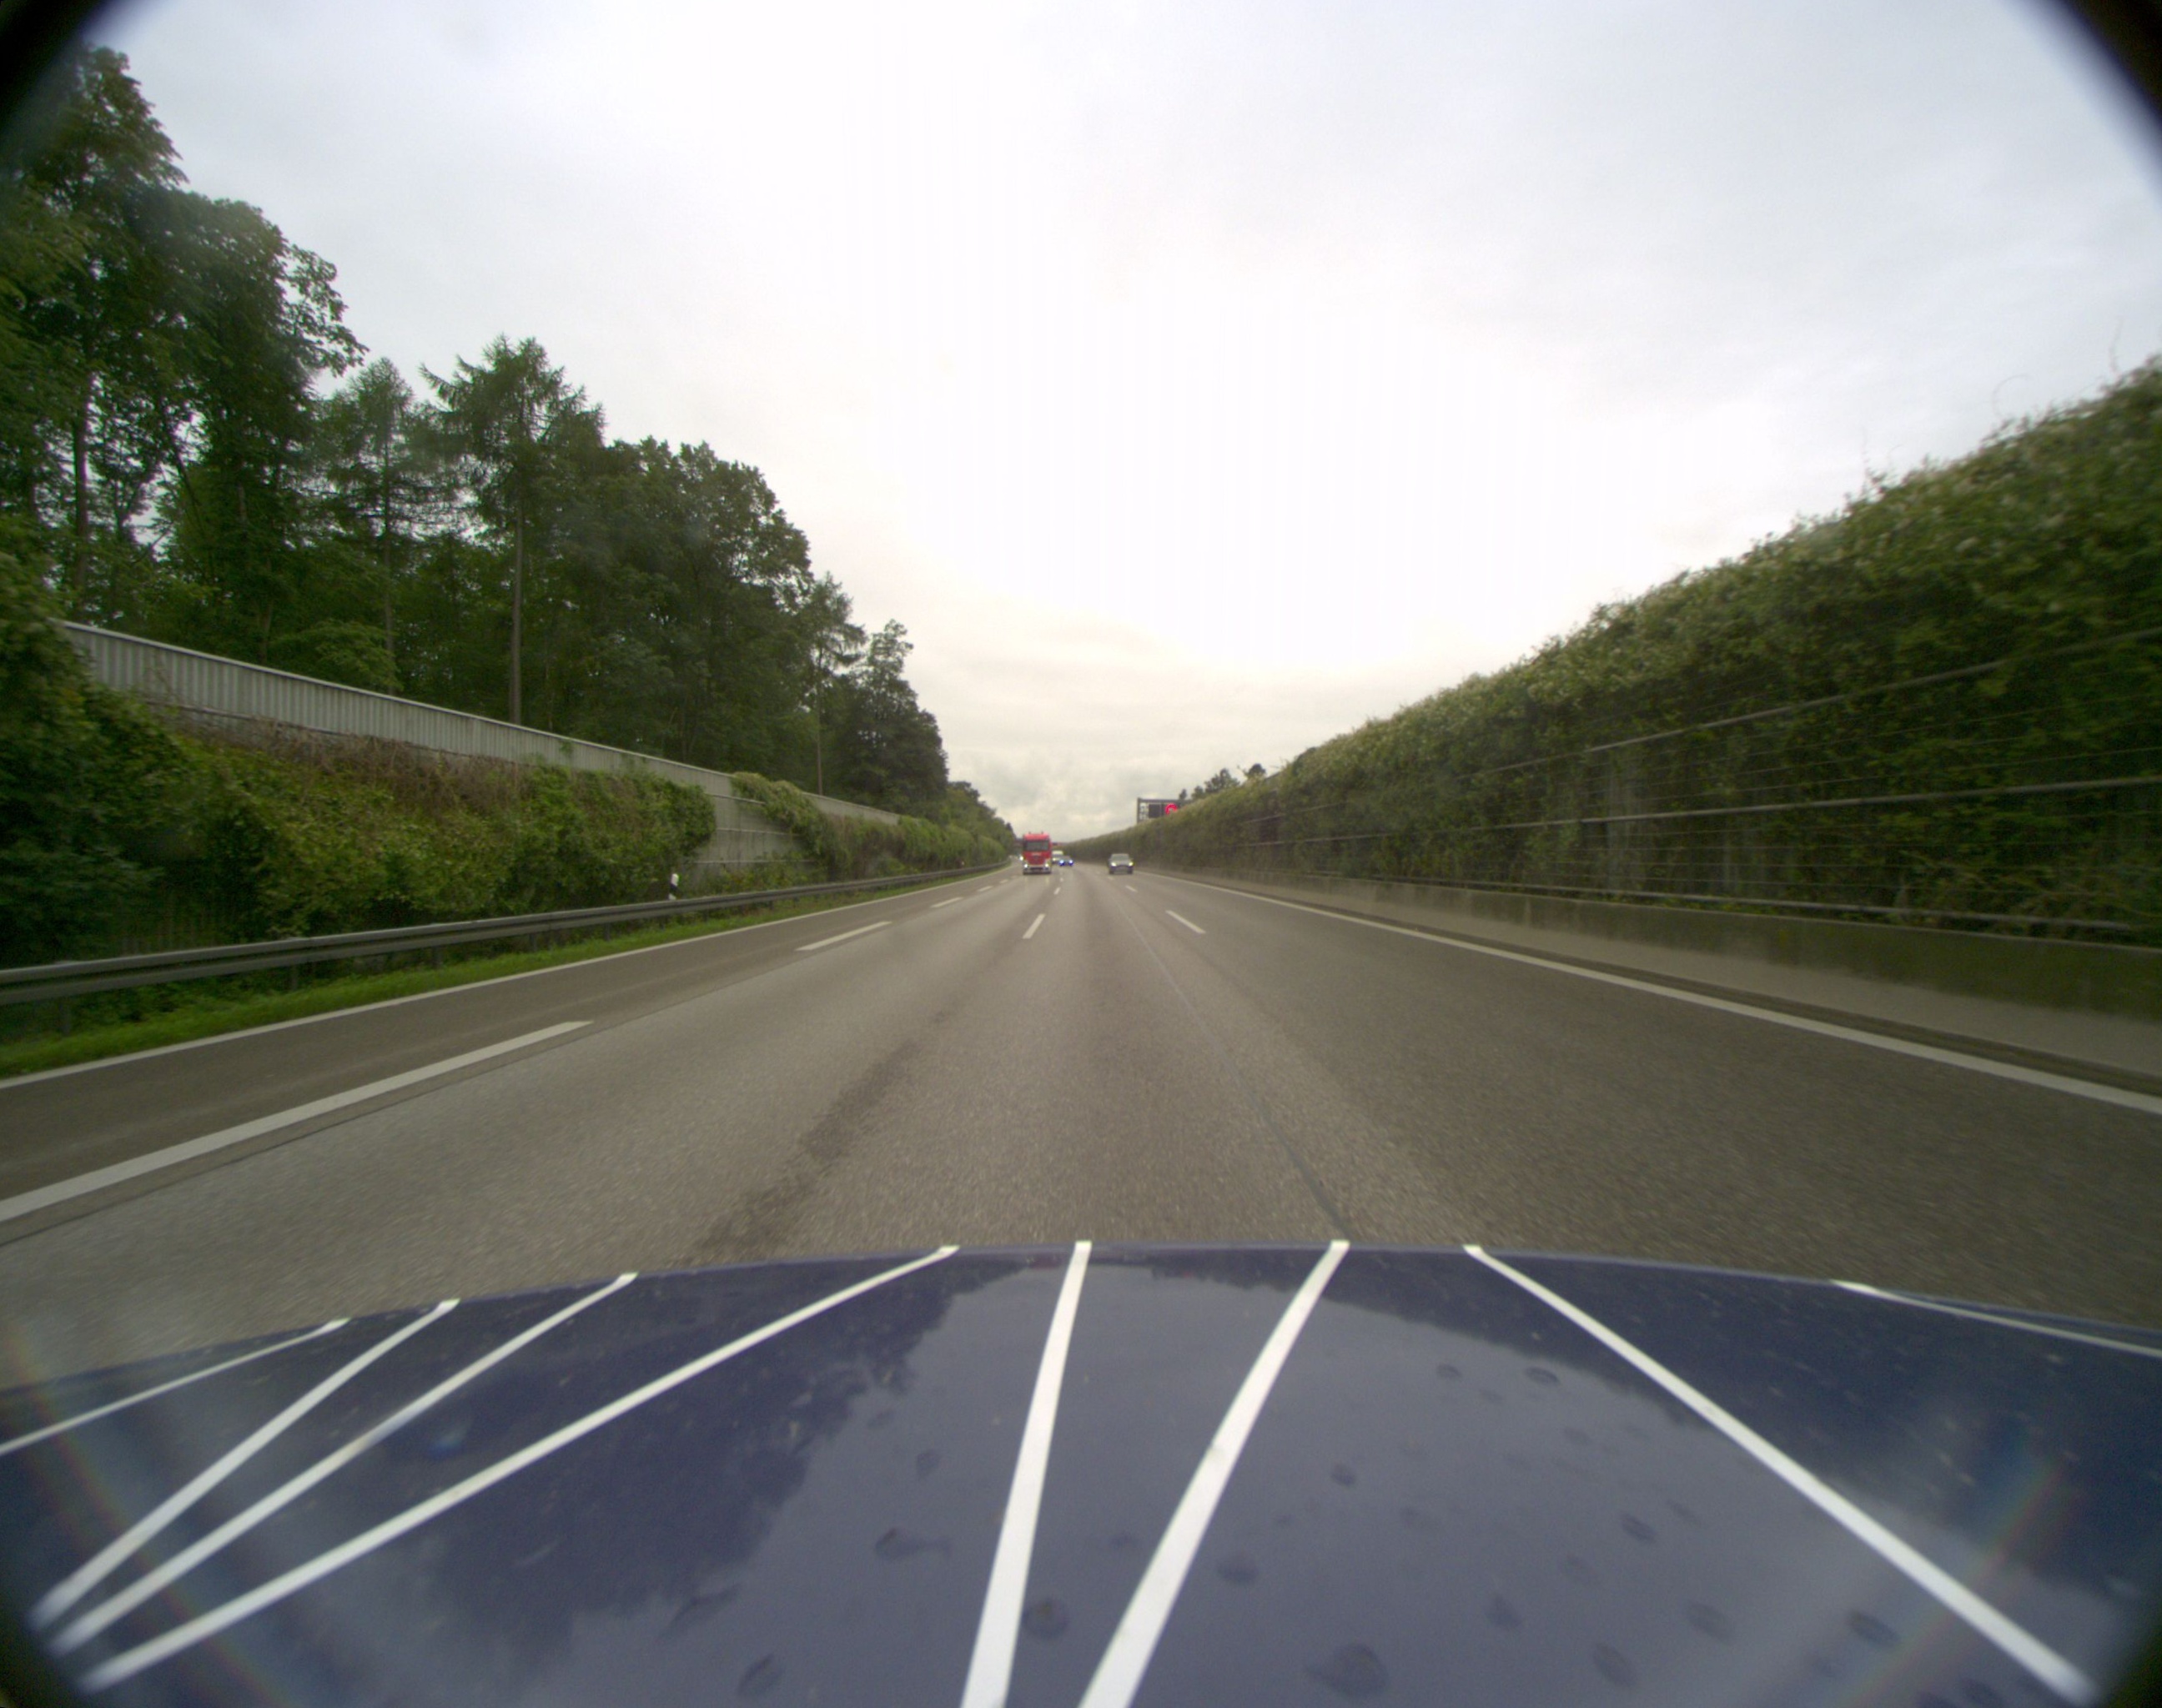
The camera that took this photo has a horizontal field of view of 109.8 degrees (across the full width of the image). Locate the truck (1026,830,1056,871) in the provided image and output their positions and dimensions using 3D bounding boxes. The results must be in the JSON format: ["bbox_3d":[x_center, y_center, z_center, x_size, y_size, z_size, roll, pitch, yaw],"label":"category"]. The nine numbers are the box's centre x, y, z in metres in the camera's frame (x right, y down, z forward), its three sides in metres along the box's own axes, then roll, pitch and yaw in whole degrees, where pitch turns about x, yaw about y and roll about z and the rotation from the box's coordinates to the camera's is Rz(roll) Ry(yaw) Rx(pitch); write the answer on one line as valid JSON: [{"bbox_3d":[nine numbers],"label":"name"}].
[{"bbox_3d":[-3.855,-0.435,74.481,2.709,3.691,9.837,-1,2,-2],"label":"truck"}]

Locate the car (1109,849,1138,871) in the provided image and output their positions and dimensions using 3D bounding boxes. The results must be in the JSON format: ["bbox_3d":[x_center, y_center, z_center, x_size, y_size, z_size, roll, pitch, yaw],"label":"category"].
[{"bbox_3d":[3.549,0.453,63.832,2.023,1.595,5.438,-2,1,0],"label":"car"}]

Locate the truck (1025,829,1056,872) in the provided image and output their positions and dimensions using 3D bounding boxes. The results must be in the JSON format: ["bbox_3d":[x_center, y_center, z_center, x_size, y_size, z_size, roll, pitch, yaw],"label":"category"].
[{"bbox_3d":[-3.664,-0.357,69.560,2.709,3.809,4.196,-1,2,-2],"label":"truck"}]

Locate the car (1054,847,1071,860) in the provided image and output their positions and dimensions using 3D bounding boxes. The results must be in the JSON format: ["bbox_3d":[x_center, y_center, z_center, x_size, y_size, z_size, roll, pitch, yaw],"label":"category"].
[{"bbox_3d":[-3.455,-0.129,139.944,2.770,2.227,6.543,-1,1,-4],"label":"car"}]

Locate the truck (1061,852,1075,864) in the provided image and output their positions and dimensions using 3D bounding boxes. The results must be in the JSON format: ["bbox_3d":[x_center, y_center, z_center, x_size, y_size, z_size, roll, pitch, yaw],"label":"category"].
[{"bbox_3d":[-1.987,0.580,115.453,1.826,1.535,3.997,-1,2,-4],"label":"truck"}]
